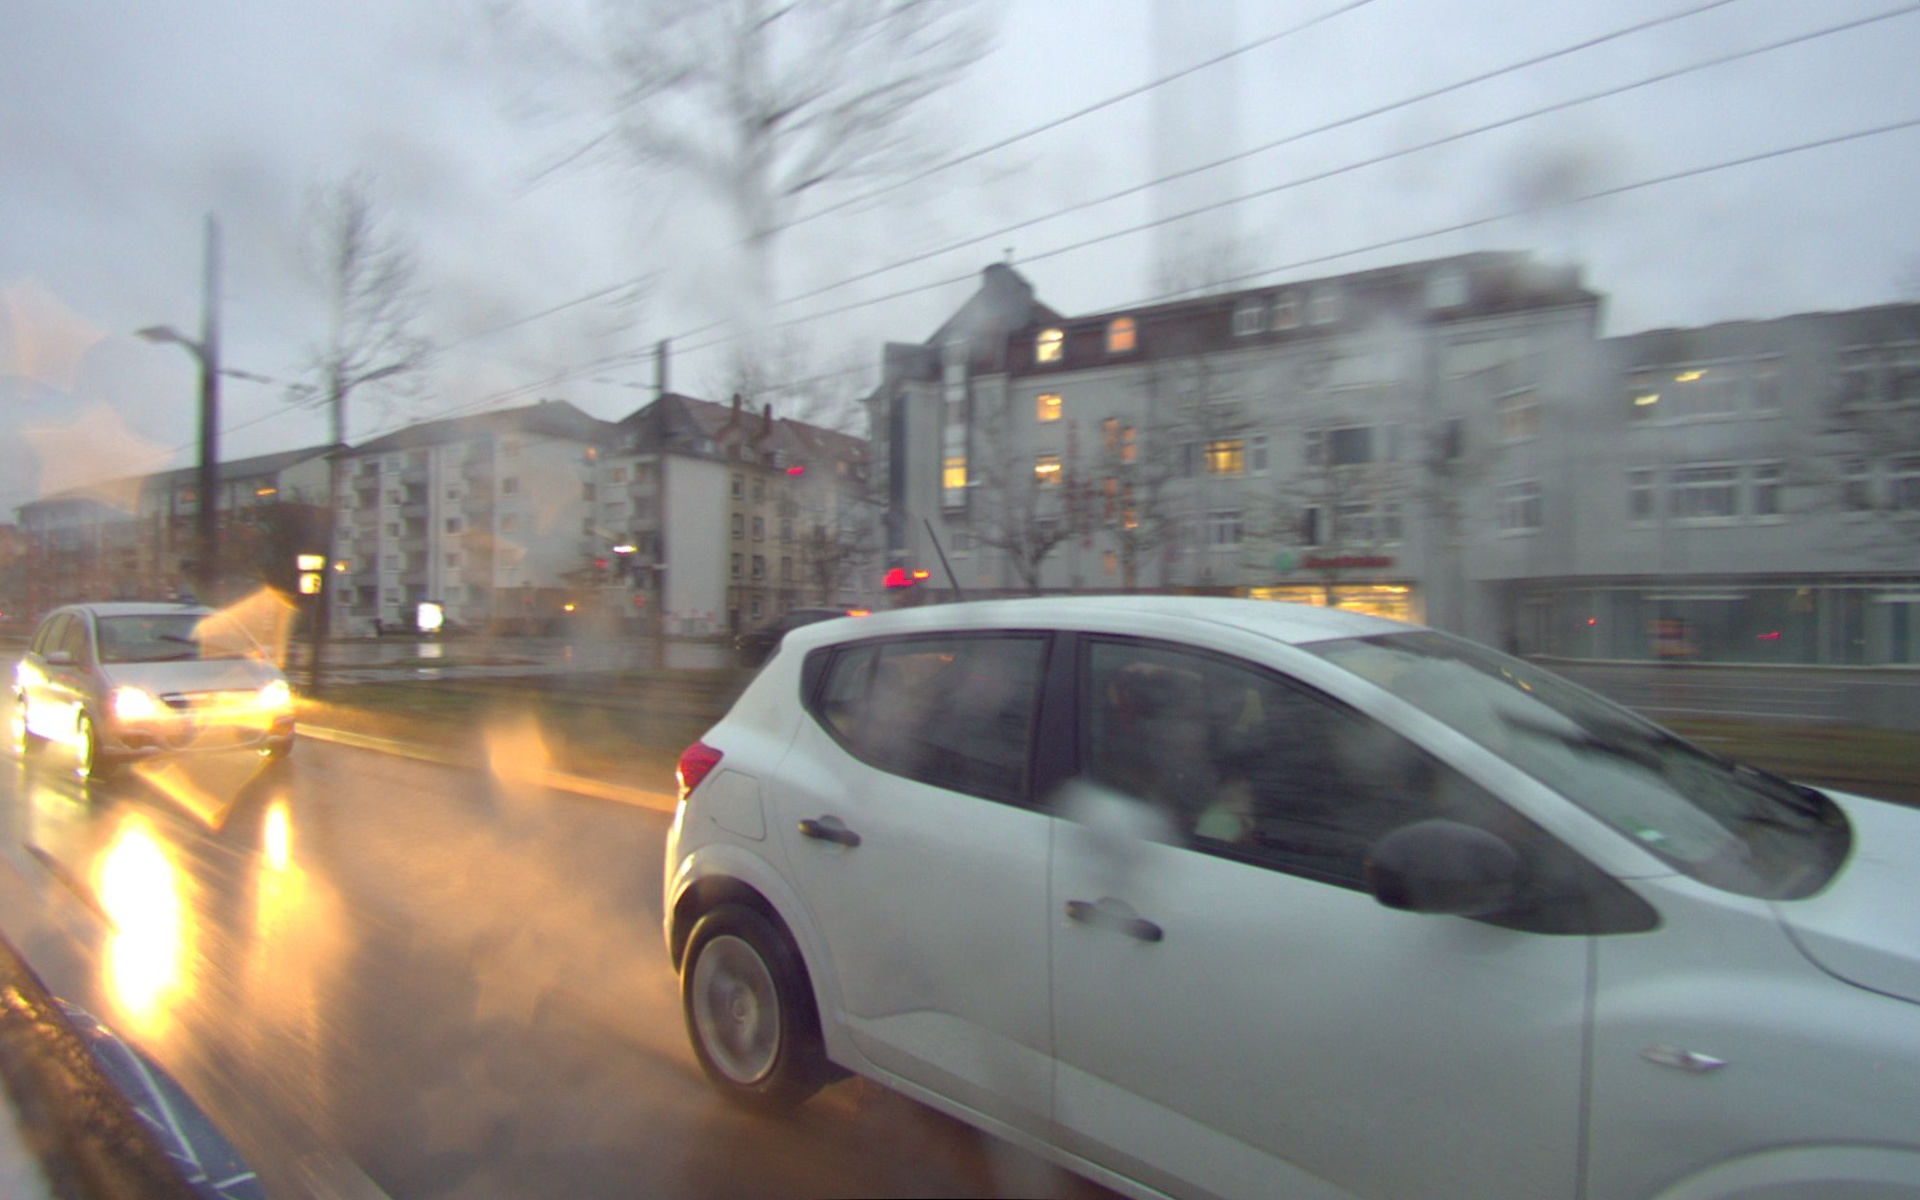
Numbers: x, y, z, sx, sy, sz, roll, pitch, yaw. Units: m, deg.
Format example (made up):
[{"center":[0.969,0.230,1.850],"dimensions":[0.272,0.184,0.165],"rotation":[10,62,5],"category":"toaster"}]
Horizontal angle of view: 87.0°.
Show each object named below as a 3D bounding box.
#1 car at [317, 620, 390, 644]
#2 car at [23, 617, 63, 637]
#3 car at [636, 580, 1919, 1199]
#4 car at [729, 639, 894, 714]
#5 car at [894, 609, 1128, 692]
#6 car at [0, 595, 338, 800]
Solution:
[{"center":[-39.566,2.061,66.095],"dimensions":[1.689,1.377,3.777],"rotation":[0,1,26],"category":"car"},{"center":[-84.195,2.482,92.913],"dimensions":[4.139,1.658,1.711],"rotation":[1,1,33],"category":"car"},{"center":[1.013,0.701,2.538],"dimensions":[3.999,1.477,1.690],"rotation":[1,1,42],"category":"car"},{"center":[-3.860,1.903,26.146],"dimensions":[3.984,1.618,1.792],"rotation":[1,1,30],"category":"car"},{"center":[1.043,1.012,21.900],"dimensions":[4.915,1.540,1.576],"rotation":[1,1,30],"category":"car"},{"center":[-8.345,0.810,10.548],"dimensions":[3.996,1.689,1.996],"rotation":[1,1,39],"category":"car"}]
